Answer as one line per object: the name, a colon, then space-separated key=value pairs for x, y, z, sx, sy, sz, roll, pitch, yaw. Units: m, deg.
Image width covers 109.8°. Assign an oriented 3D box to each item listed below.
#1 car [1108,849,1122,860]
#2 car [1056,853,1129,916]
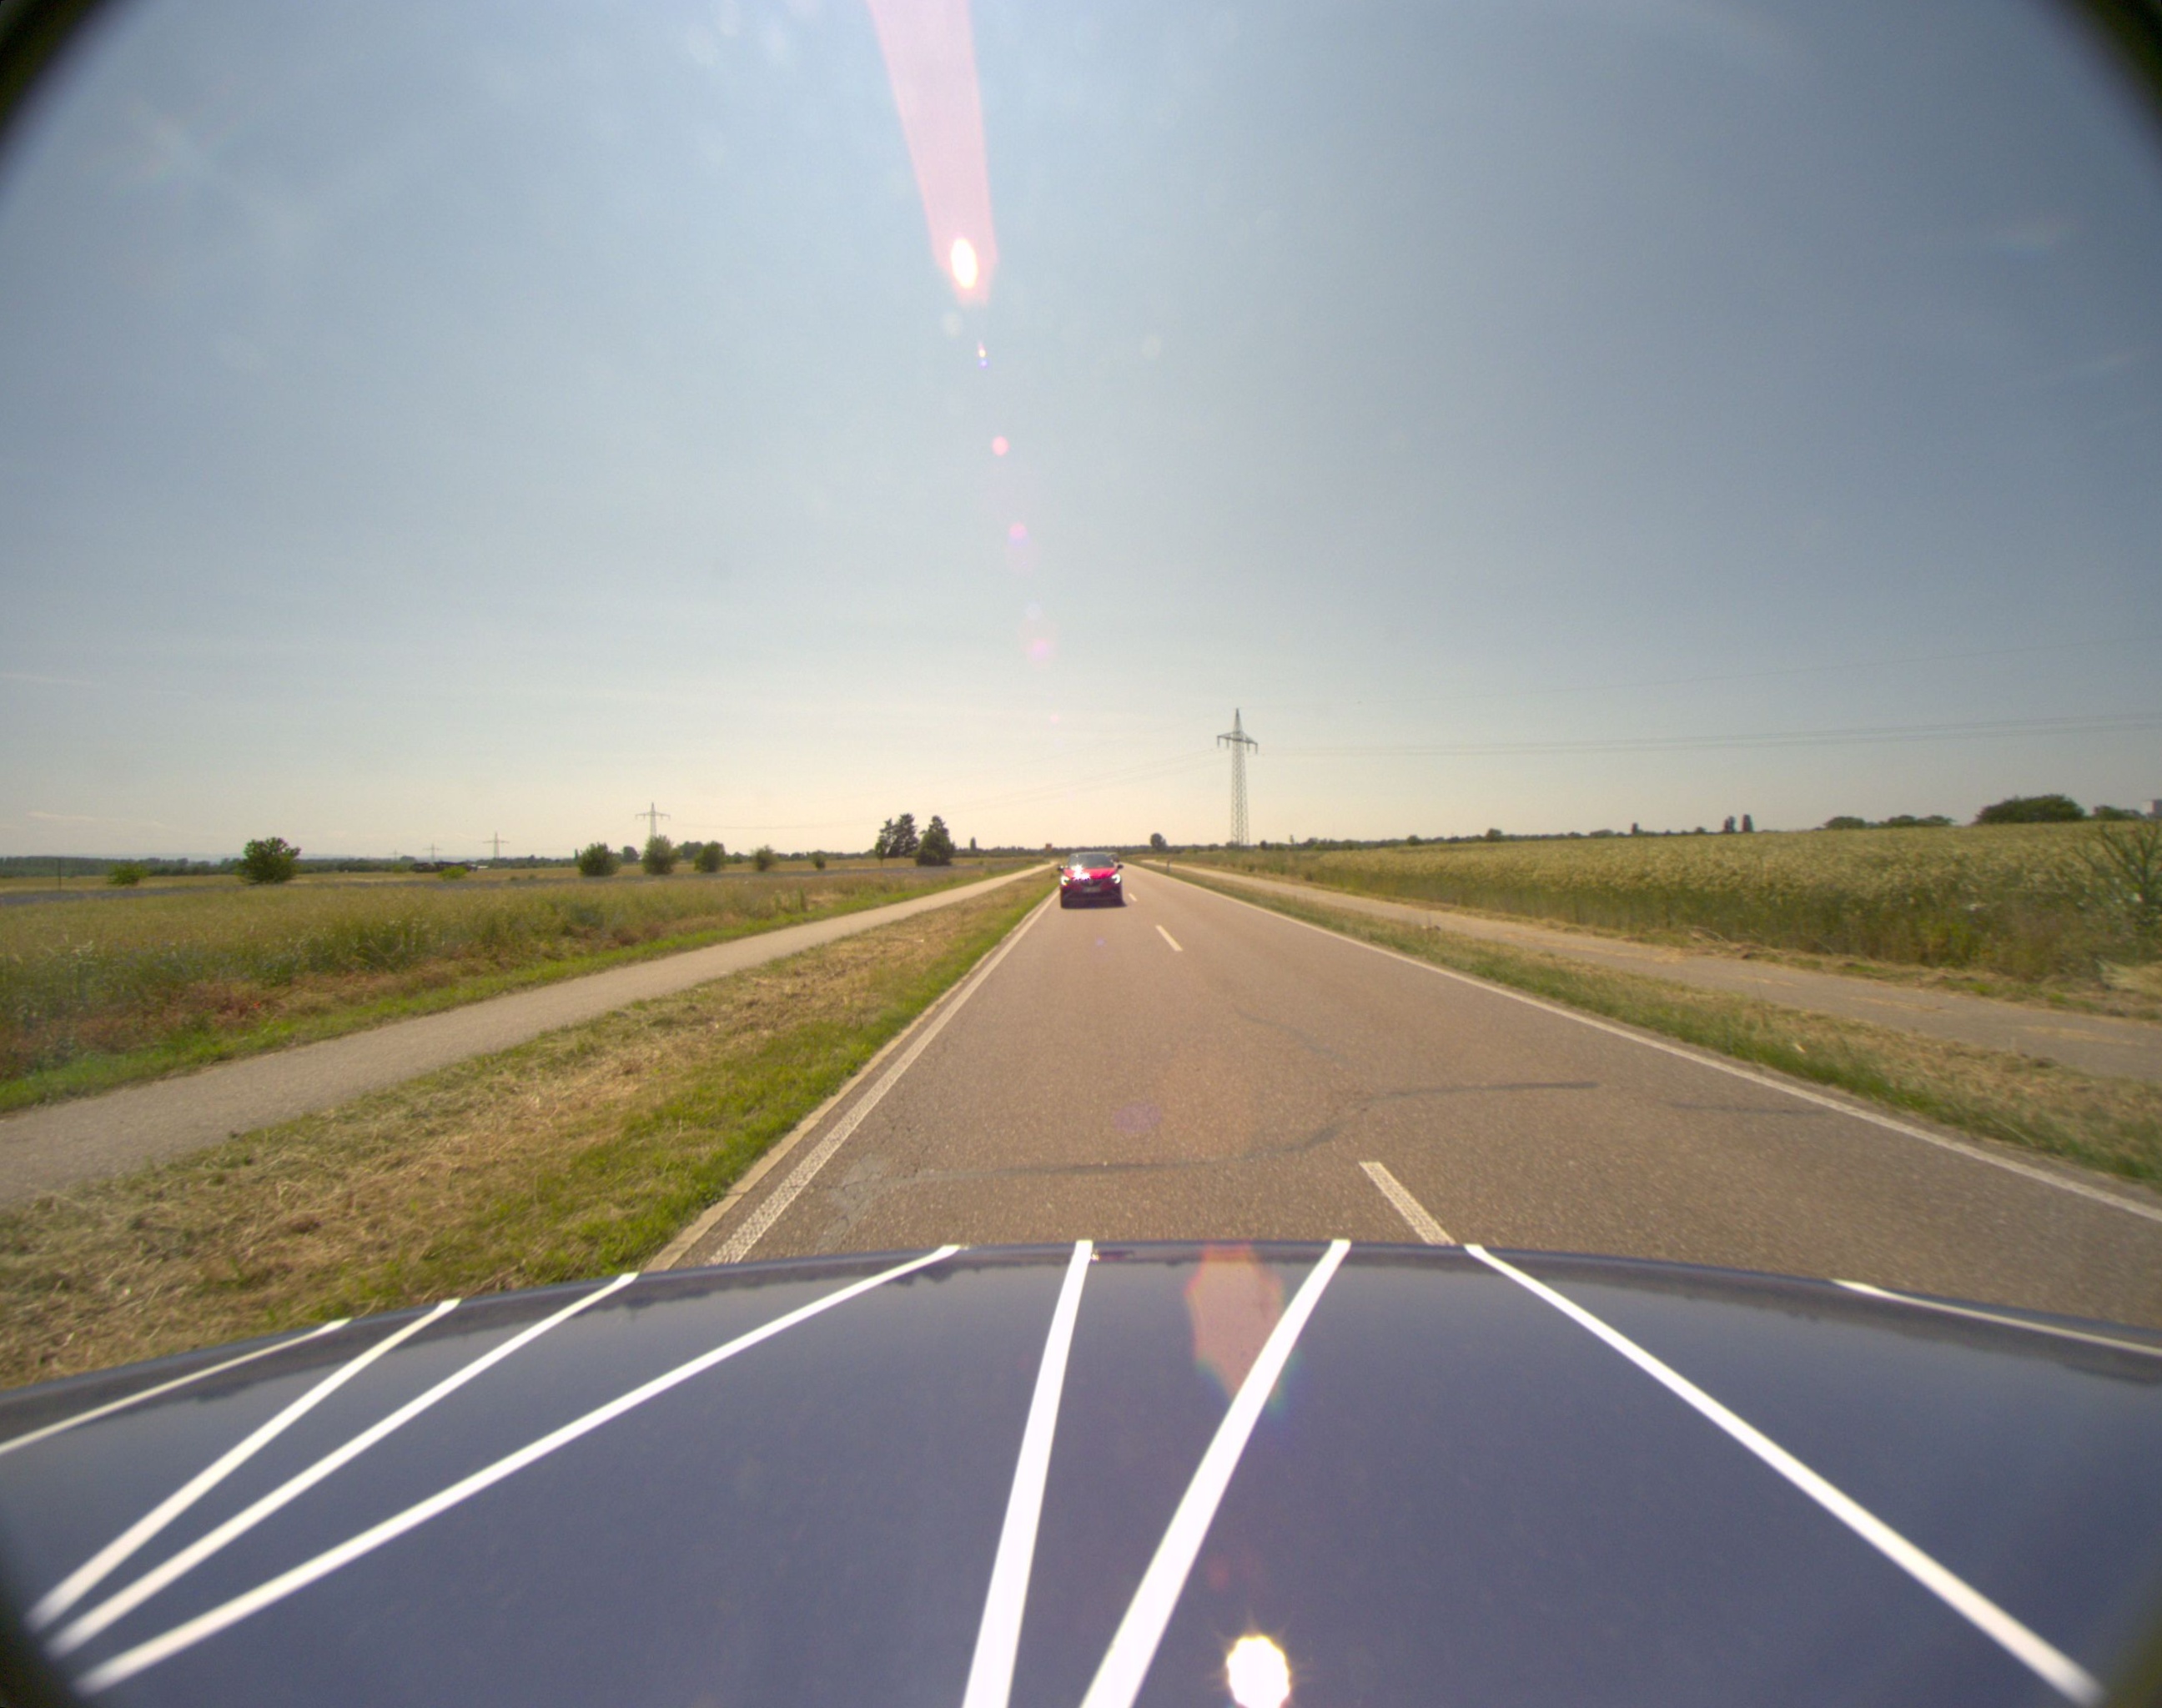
car: x=4.932 y=0.040 z=110.803 sx=1.752 sy=1.392 sz=4.032 roll=-2 pitch=1 yaw=1
car: x=0.331 y=0.784 z=21.816 sx=1.826 sy=1.543 sz=4.449 roll=-2 pitch=0 yaw=1
